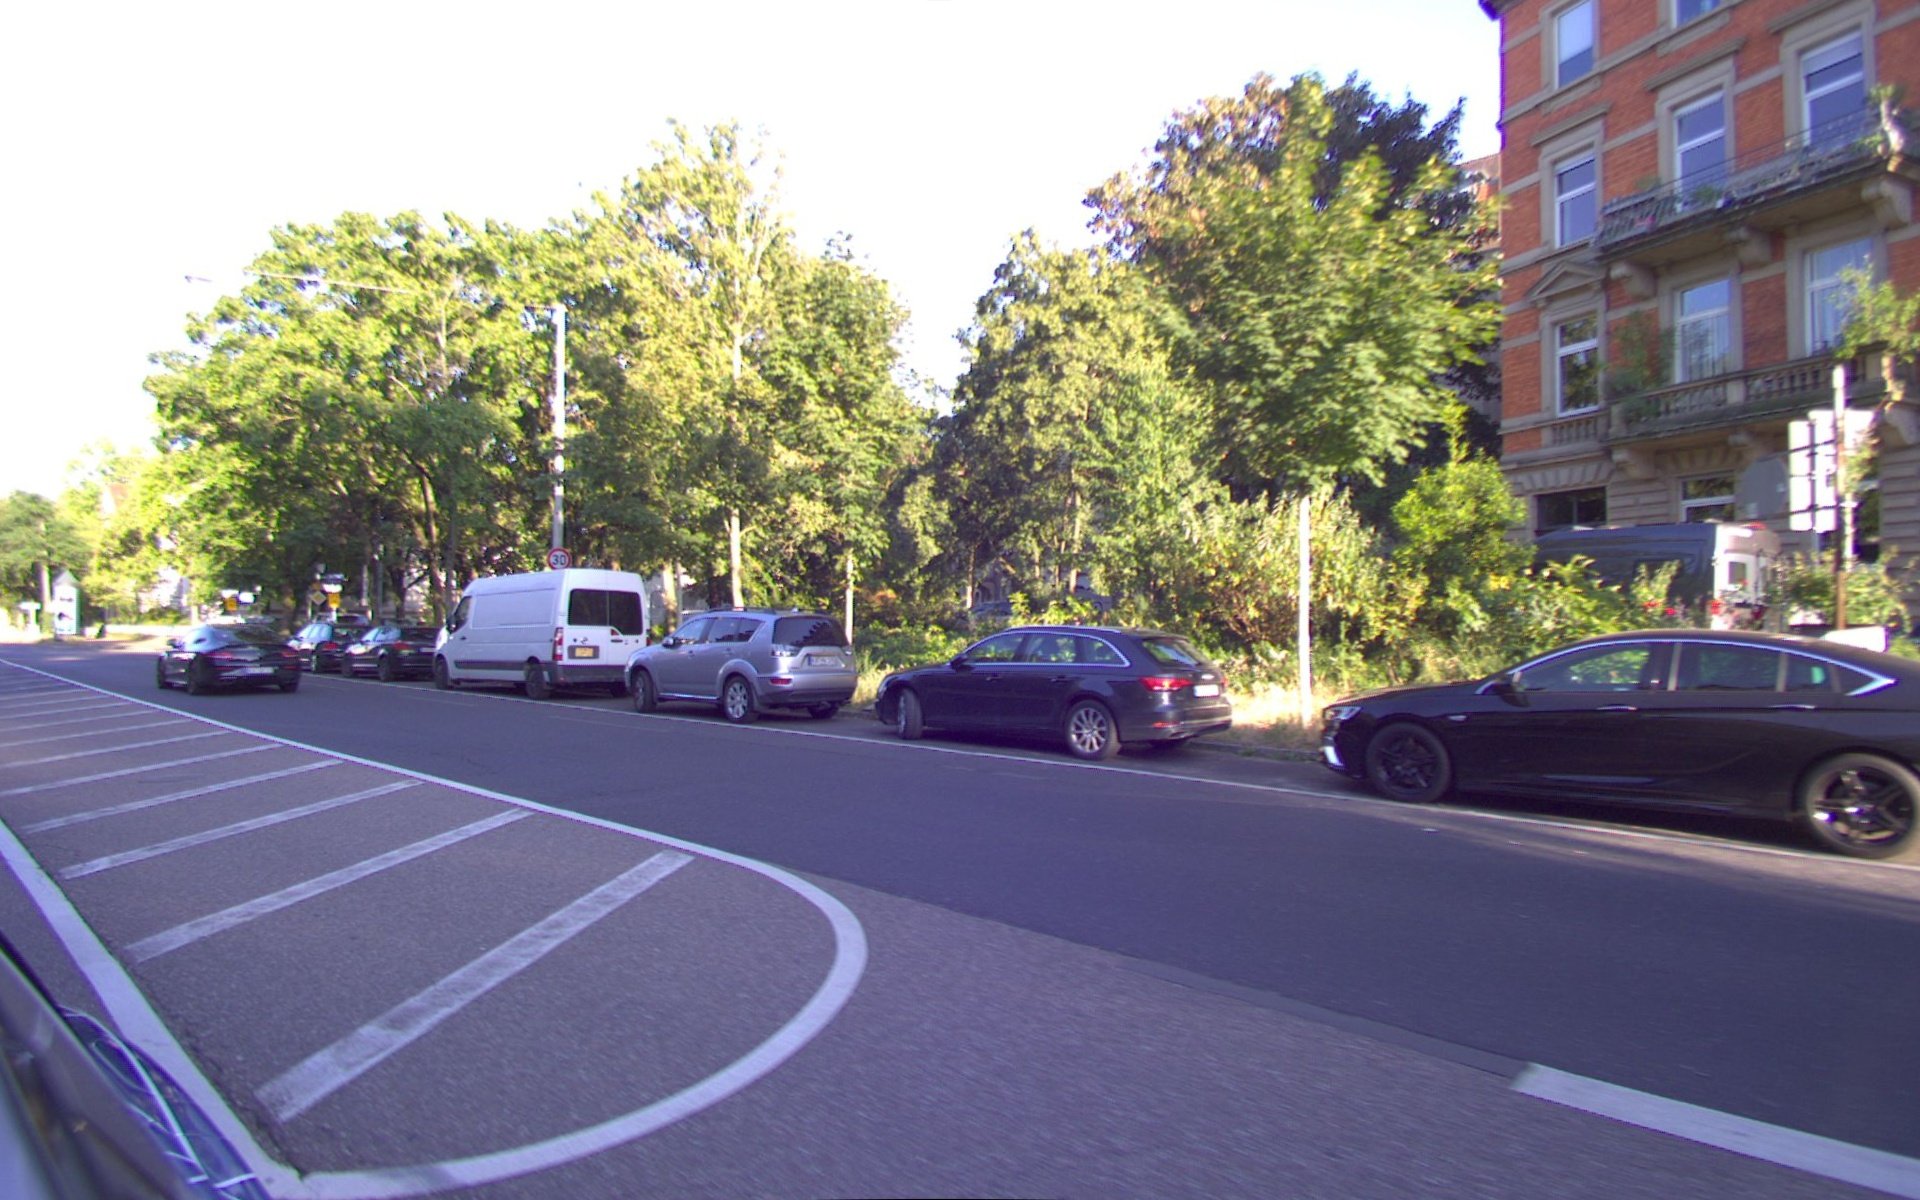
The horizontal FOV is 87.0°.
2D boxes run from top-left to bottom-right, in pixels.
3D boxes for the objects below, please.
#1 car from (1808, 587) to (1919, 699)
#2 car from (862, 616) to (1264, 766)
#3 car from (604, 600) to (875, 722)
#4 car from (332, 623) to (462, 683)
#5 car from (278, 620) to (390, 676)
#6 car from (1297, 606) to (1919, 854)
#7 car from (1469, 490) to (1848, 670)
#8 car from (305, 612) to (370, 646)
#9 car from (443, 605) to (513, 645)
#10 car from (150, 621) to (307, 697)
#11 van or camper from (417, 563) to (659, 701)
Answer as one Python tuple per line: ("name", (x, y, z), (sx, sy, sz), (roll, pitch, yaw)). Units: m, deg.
("car", (14.535, 0.589, 13.465), (1.965, 1.549, 4.577), (1, -2, -25))
("car", (1.043, 0.928, 12.000), (4.623, 1.456, 1.718), (-1, -1, 42))
("car", (-3.593, 0.887, 16.027), (4.569, 1.657, 1.846), (-1, -2, 41))
("car", (-14.774, 1.341, 26.486), (4.240, 1.440, 1.611), (-1, -3, 41))
("car", (-18.557, 1.360, 29.908), (4.543, 1.518, 1.606), (-1, -2, 42))
("car", (5.346, 0.816, 7.838), (4.827, 1.495, 1.972), (-1, -1, 42))
("car", (12.299, -0.219, 18.382), (2.090, 2.760, 5.327), (1, -2, -23))
("car", (-34.527, 1.600, 56.087), (3.994, 1.809, 1.801), (-1, -1, 38))
("car", (-29.246, 1.517, 61.300), (5.100, 2.306, 2.190), (-1, -1, 44))
("car", (-15.320, 1.147, 21.109), (4.543, 1.413, 1.747), (-1, -2, 42))
("van or camper", (-8.953, 0.664, 21.112), (6.302, 2.487, 2.069), (-1, -3, 41))
